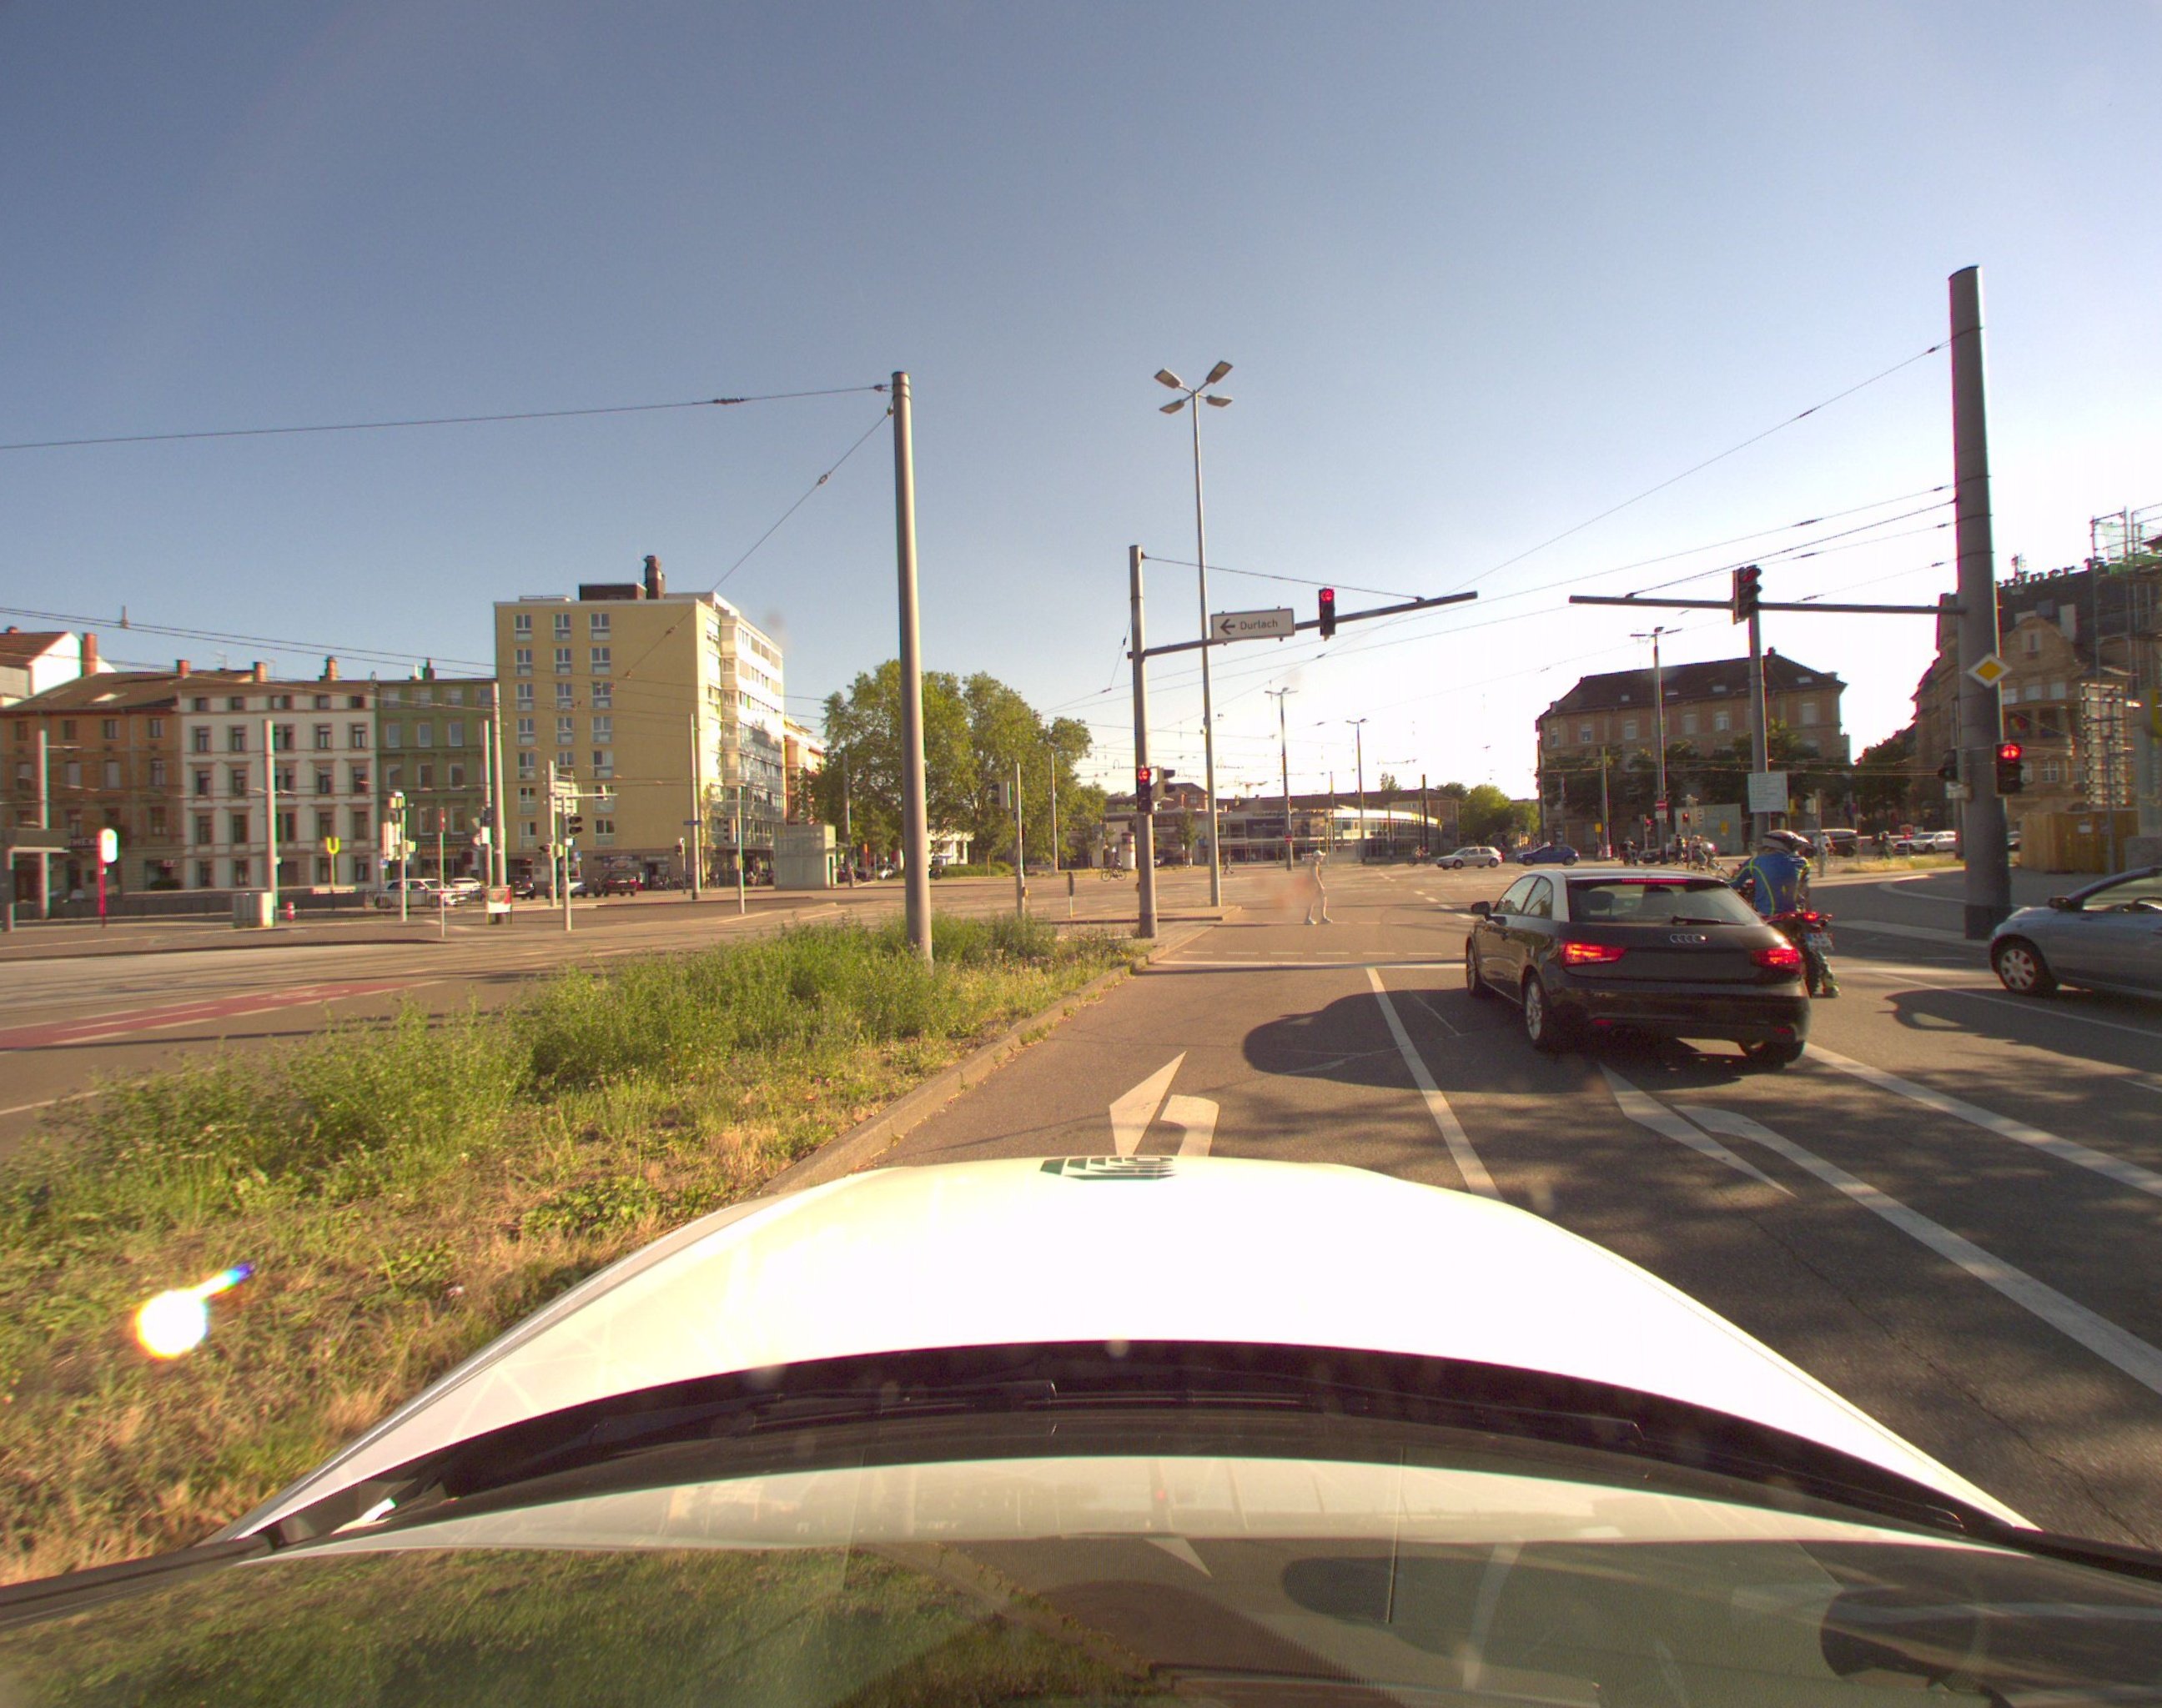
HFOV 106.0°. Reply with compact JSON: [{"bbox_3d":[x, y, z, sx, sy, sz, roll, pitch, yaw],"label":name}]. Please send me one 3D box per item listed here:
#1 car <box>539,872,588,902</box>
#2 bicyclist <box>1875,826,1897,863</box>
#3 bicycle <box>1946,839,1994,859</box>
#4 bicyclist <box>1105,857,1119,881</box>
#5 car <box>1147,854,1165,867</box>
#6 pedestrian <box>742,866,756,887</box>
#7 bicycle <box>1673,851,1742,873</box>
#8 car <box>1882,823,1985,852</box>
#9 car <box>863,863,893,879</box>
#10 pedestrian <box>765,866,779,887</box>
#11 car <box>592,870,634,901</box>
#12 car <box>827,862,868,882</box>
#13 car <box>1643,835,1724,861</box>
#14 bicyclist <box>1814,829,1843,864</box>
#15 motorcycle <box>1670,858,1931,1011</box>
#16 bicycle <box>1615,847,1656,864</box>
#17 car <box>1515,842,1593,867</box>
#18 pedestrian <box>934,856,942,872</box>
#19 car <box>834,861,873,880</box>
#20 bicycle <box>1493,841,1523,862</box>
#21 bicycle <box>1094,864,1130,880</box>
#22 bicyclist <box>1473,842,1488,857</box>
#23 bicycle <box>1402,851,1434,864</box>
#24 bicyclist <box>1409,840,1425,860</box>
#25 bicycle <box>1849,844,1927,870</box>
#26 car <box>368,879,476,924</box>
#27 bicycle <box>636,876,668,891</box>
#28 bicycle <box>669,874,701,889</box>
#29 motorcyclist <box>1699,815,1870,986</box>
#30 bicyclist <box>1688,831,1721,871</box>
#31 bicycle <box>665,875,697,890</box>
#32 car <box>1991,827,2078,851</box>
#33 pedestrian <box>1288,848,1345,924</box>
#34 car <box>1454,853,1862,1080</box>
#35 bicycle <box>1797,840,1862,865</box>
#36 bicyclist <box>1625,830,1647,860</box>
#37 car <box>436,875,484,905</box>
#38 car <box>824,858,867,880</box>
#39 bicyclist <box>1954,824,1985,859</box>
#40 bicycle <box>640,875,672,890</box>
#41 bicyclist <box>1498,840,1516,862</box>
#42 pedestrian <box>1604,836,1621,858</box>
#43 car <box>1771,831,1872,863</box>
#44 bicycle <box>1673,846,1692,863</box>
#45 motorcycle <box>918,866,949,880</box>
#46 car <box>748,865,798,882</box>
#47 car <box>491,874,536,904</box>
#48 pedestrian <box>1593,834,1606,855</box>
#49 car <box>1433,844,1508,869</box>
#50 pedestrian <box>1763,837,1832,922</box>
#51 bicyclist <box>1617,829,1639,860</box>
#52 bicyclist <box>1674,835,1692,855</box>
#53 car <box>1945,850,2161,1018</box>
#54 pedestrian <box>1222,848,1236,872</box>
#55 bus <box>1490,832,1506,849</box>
[{"bbox_3d":[-34.508,2.178,54.296,3.950,1.748,1.851,0,2,44],"label":"car"},{"bbox_3d":[37.197,-0.449,37.642,0.643,1.690,0.866,0,2,40],"label":"bicyclist"},{"bbox_3d":[43.634,-0.268,39.972,2.304,0.905,0.854,-2,2,-21],"label":"bicycle"},{"bbox_3d":[2.116,1.025,55.934,0.920,1.559,0.963,-2,-1,0],"label":"bicyclist"},{"bbox_3d":[10.161,0.879,110.043,1.981,1.534,4.012,-1,2,10],"label":"car"},{"bbox_3d":[-26.997,1.858,66.256,0.773,1.676,0.782,-2,-1,-1],"label":"pedestrian"},{"bbox_3d":[27.079,0.329,35.219,2.489,0.874,0.859,-1,1,-6],"label":"bicycle"},{"bbox_3d":[57.792,-1.086,55.287,4.816,1.799,1.954,-2,-1,1],"label":"car"},{"bbox_3d":[-19.484,1.625,78.225,1.841,1.452,3.999,-1,0,0],"label":"car"},{"bbox_3d":[-25.121,1.813,66.151,0.773,1.676,0.782,-2,-1,-1],"label":"pedestrian"},{"bbox_3d":[-31.428,2.087,54.685,1.862,1.857,3.955,-2,2,-38],"label":"car"},{"bbox_3d":[-24.849,1.877,86.644,4.000,1.857,1.841,-2,2,-19],"label":"car"},{"bbox_3d":[38.644,-0.380,52.297,4.091,1.486,1.946,-2,0,-12],"label":"car"},{"bbox_3d":[36.798,-0.380,40.106,0.647,1.690,0.860,-1,1,-2],"label":"bicyclist"},{"bbox_3d":[7.538,0.743,8.788,1.087,1.377,2.665,-1,-1,17],"label":"motorcycle"},{"bbox_3d":[32.727,0.066,48.062,2.303,0.905,0.854,-2,2,-20],"label":"bicycle"},{"bbox_3d":[33.689,0.020,58.150,4.561,1.594,1.964,-2,-1,22],"label":"car"},{"bbox_3d":[-17.733,1.225,100.991,0.584,2.014,0.713,-2,-1,16],"label":"pedestrian"},{"bbox_3d":[-25.530,1.814,91.321,4.000,1.857,1.841,-2,2,-19],"label":"car"},{"bbox_3d":[37.844,-0.217,72.147,4.024,1.690,1.125,-3,2,-45],"label":"bicycle"},{"bbox_3d":[2.146,1.241,55.938,2.430,1.003,0.963,-2,0,0],"label":"bicycle"},{"bbox_3d":[31.515,-0.361,64.264,0.713,1.143,0.834,-2,1,-13],"label":"bicyclist"},{"bbox_3d":[27.099,0.285,65.538,2.293,0.979,0.858,-2,1,-7],"label":"bicycle"},{"bbox_3d":[27.035,-0.319,65.533,0.922,1.559,0.858,-1,1,-7],"label":"bicyclist"},{"bbox_3d":[37.236,0.118,37.628,2.469,1.133,0.866,0,2,40],"label":"bicycle"},{"bbox_3d":[-33.433,2.375,41.420,3.726,2.013,1.998,-1,1,-4],"label":"car"},{"bbox_3d":[-32.980,2.241,62.607,2.038,1.090,0.776,-2,-1,-4],"label":"bicycle"},{"bbox_3d":[-30.900,2.165,63.606,2.038,1.090,0.776,-2,-1,-4],"label":"bicycle"},{"bbox_3d":[7.540,0.480,8.803,1.087,1.721,0.941,-1,-1,17],"label":"motorcyclist"},{"bbox_3d":[26.937,-0.145,35.194,0.744,1.690,0.859,-1,1,-5],"label":"bicyclist"},{"bbox_3d":[-30.808,2.187,62.763,2.038,1.090,0.776,-2,-1,-4],"label":"bicycle"},{"bbox_3d":[65.988,-1.059,56.401,4.341,1.563,1.947,-2,1,-9],"label":"car"},{"bbox_3d":[5.177,0.686,17.965,1.087,1.606,0.700,-1,1,5],"label":"pedestrian"},{"bbox_3d":[4.665,0.718,7.351,1.787,1.444,3.995,0,0,16],"label":"car"},{"bbox_3d":[36.834,-0.074,40.102,2.487,1.133,0.859,-1,1,-3],"label":"bicycle"},{"bbox_3d":[32.750,-0.536,48.070,0.651,1.690,0.855,-2,1,-19],"label":"bicyclist"},{"bbox_3d":[-41.286,2.355,54.090,2.099,1.719,3.961,-3,2,-43],"label":"car"},{"bbox_3d":[-23.617,1.514,81.584,3.999,2.014,1.987,-2,-1,-19],"label":"car"},{"bbox_3d":[43.545,-0.605,39.919,0.651,1.690,0.854,-2,1,-21],"label":"bicyclist"},{"bbox_3d":[-33.110,2.220,63.471,2.038,1.090,0.776,-2,-1,-4],"label":"bicycle"},{"bbox_3d":[37.712,-0.306,72.071,1.079,1.900,1.109,-2,2,-41],"label":"bicyclist"},{"bbox_3d":[41.464,-0.563,63.545,0.917,1.676,0.786,-2,-1,15],"label":"pedestrian"},{"bbox_3d":[48.518,-0.457,53.429,4.820,1.893,1.953,-2,-1,-1],"label":"car"},{"bbox_3d":[35.613,0.008,48.217,0.849,0.905,2.318,0,2,35],"label":"bicycle"},{"bbox_3d":[-11.547,1.481,63.738,2.275,1.054,0.688,-1,1,2],"label":"motorcycle"},{"bbox_3d":[-28.742,1.849,76.068,3.983,1.422,1.809,-2,0,-7],"label":"car"},{"bbox_3d":[-37.734,2.273,54.103,1.850,1.719,3.951,-3,2,-43],"label":"car"},{"bbox_3d":[41.312,-0.786,64.883,0.642,1.653,0.553,-2,-1,-22],"label":"pedestrian"},{"bbox_3d":[25.840,0.166,54.132,4.084,1.452,1.952,-2,0,-3],"label":"car"},{"bbox_3d":[14.710,0.514,16.736,0.830,1.672,0.693,-3,-1,-23],"label":"pedestrian"},{"bbox_3d":[32.142,-0.546,47.874,0.584,1.778,0.861,-2,-1,-18],"label":"bicyclist"},{"bbox_3d":[35.498,-0.537,48.044,0.849,1.176,0.719,0,2,35],"label":"bicyclist"},{"bbox_3d":[10.355,0.689,7.315,1.787,1.444,3.995,0,0,16],"label":"car"},{"bbox_3d":[11.352,0.444,62.454,0.982,1.816,0.924,-1,1,14],"label":"pedestrian"},{"bbox_3d":[74.109,-2.445,144.818,2.332,2.882,9.635,-1,2,25],"label":"bus"}]
